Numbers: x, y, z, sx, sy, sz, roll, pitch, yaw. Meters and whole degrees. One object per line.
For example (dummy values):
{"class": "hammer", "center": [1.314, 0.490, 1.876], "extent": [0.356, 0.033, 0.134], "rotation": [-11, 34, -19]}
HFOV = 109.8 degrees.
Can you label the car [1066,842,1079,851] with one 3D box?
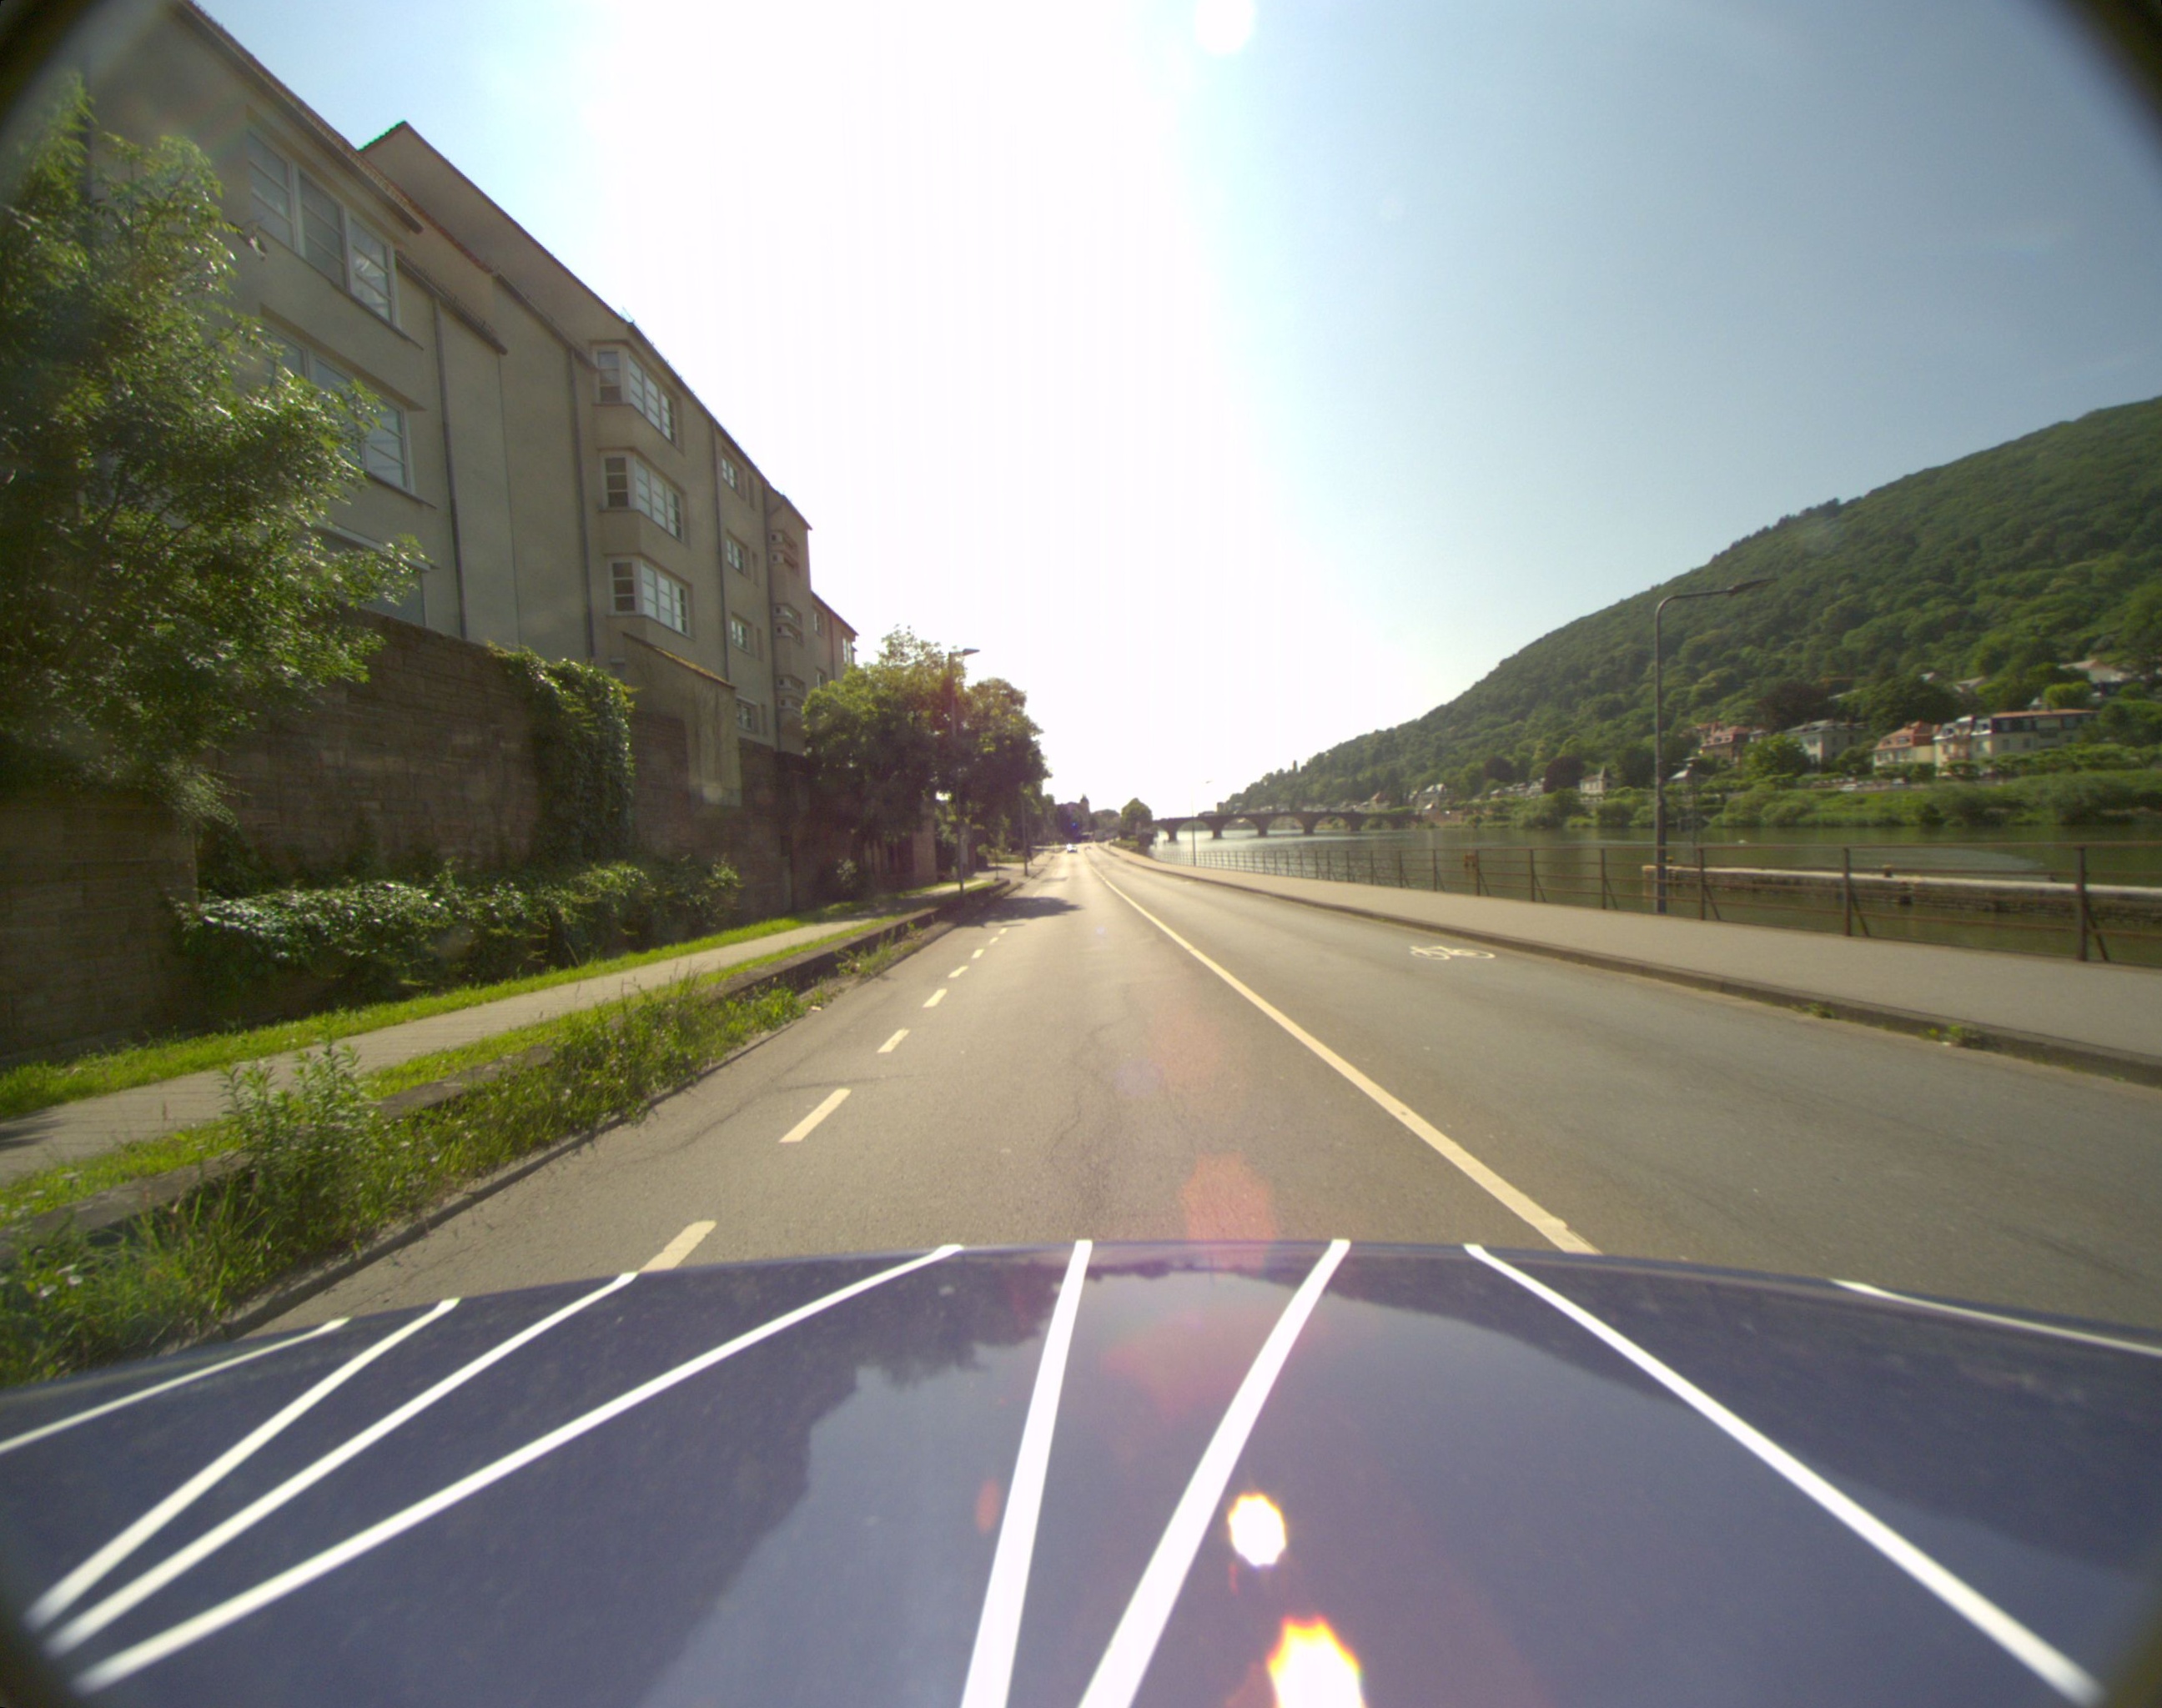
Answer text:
{"class": "car", "center": [-1.397, -1.332, 130.303], "extent": [1.998, 1.434, 4.000], "rotation": [-1, 0, 2]}
